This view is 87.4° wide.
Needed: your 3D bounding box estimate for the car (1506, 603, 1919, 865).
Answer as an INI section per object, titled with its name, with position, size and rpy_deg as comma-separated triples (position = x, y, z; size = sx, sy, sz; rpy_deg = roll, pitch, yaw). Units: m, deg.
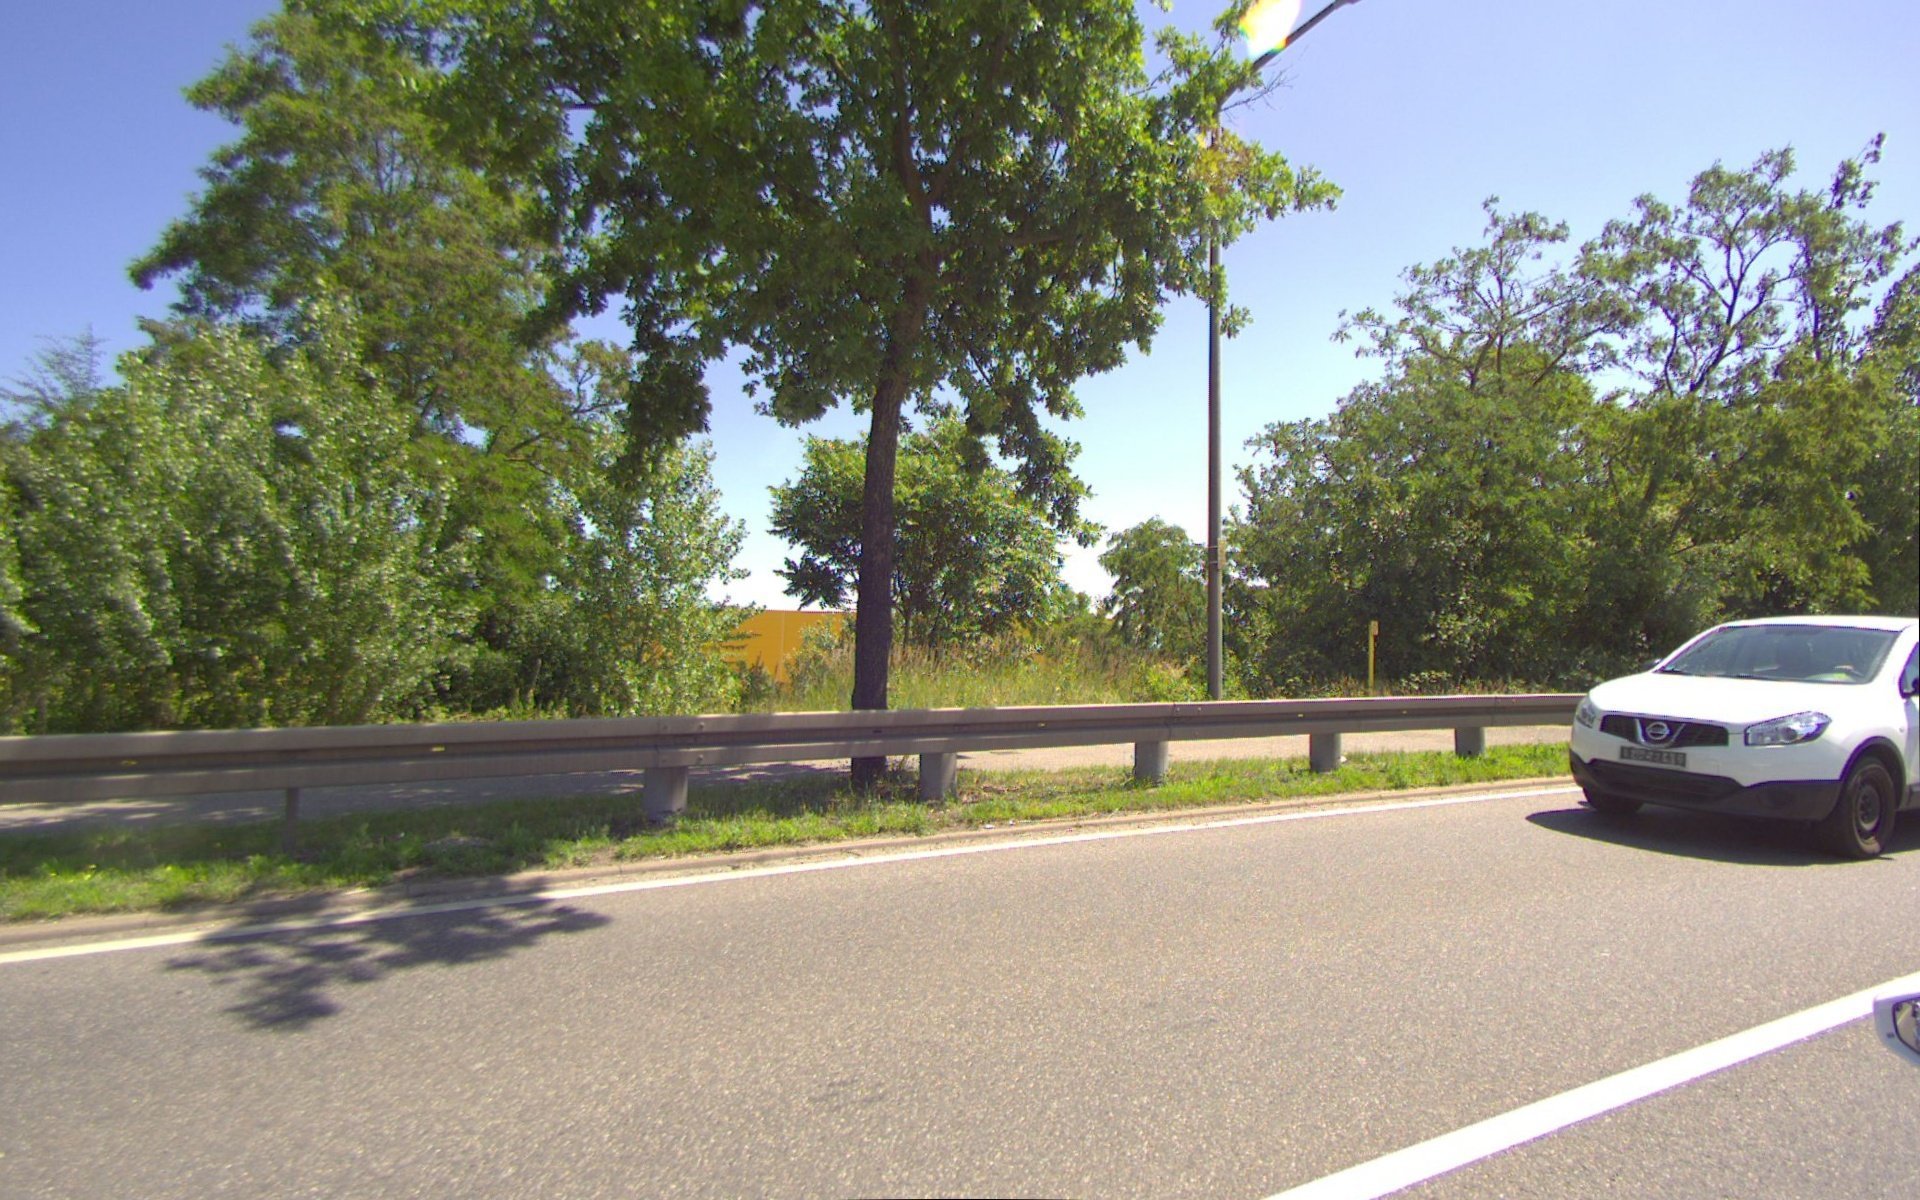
[car]
position = 6.481, 0.870, 7.703
size = 4.331, 1.566, 1.741
rpy_deg = 2, -1, -24
